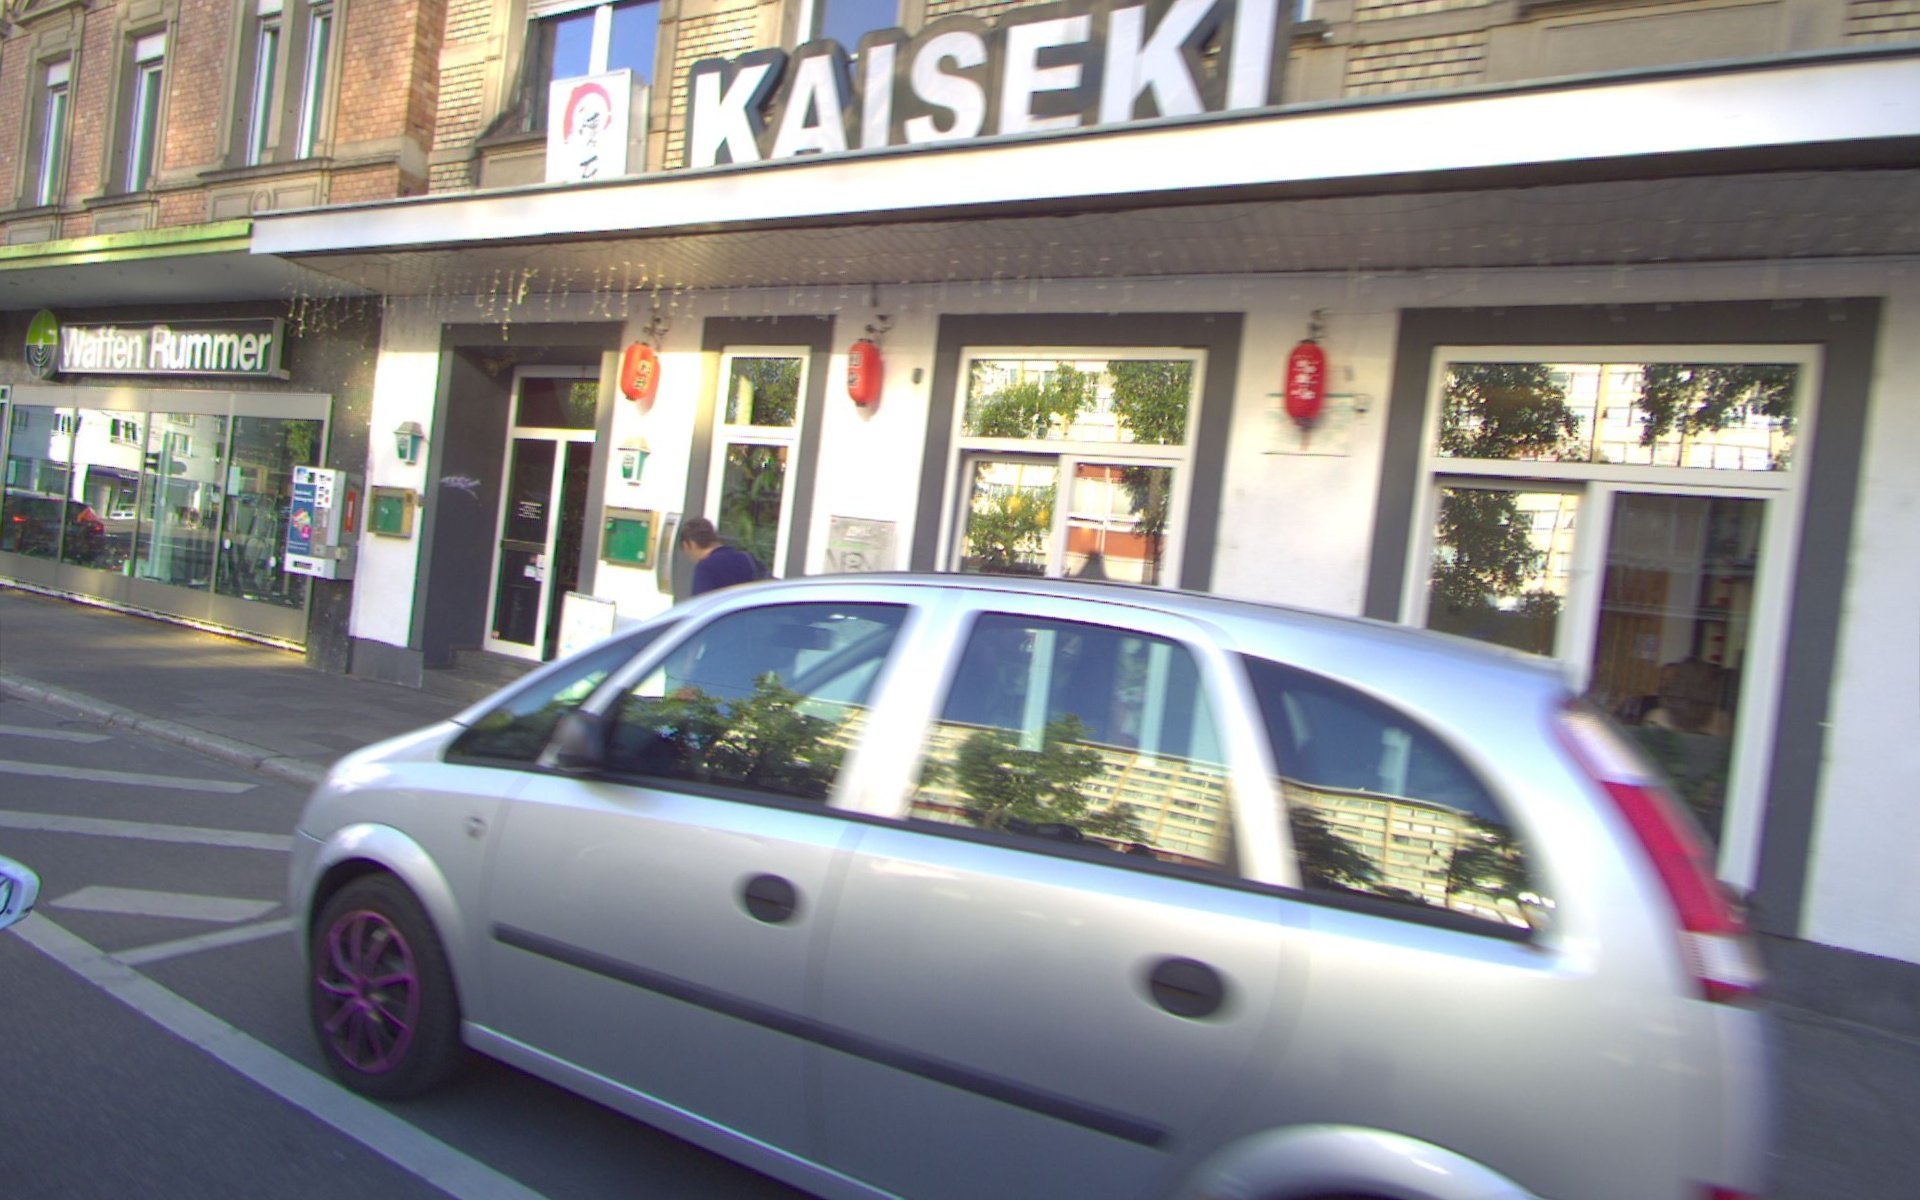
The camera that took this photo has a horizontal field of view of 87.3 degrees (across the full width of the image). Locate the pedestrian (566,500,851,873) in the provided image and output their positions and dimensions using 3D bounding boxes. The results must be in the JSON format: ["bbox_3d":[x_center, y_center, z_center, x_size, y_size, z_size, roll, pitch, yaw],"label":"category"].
[{"bbox_3d":[-1.399,0.433,5.680,1.036,1.816,0.948,7,2,26],"label":"pedestrian"}]

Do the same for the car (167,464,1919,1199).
[{"bbox_3d":[-0.200,0.674,2.915,3.875,1.634,1.642,7,0,25],"label":"car"}]
